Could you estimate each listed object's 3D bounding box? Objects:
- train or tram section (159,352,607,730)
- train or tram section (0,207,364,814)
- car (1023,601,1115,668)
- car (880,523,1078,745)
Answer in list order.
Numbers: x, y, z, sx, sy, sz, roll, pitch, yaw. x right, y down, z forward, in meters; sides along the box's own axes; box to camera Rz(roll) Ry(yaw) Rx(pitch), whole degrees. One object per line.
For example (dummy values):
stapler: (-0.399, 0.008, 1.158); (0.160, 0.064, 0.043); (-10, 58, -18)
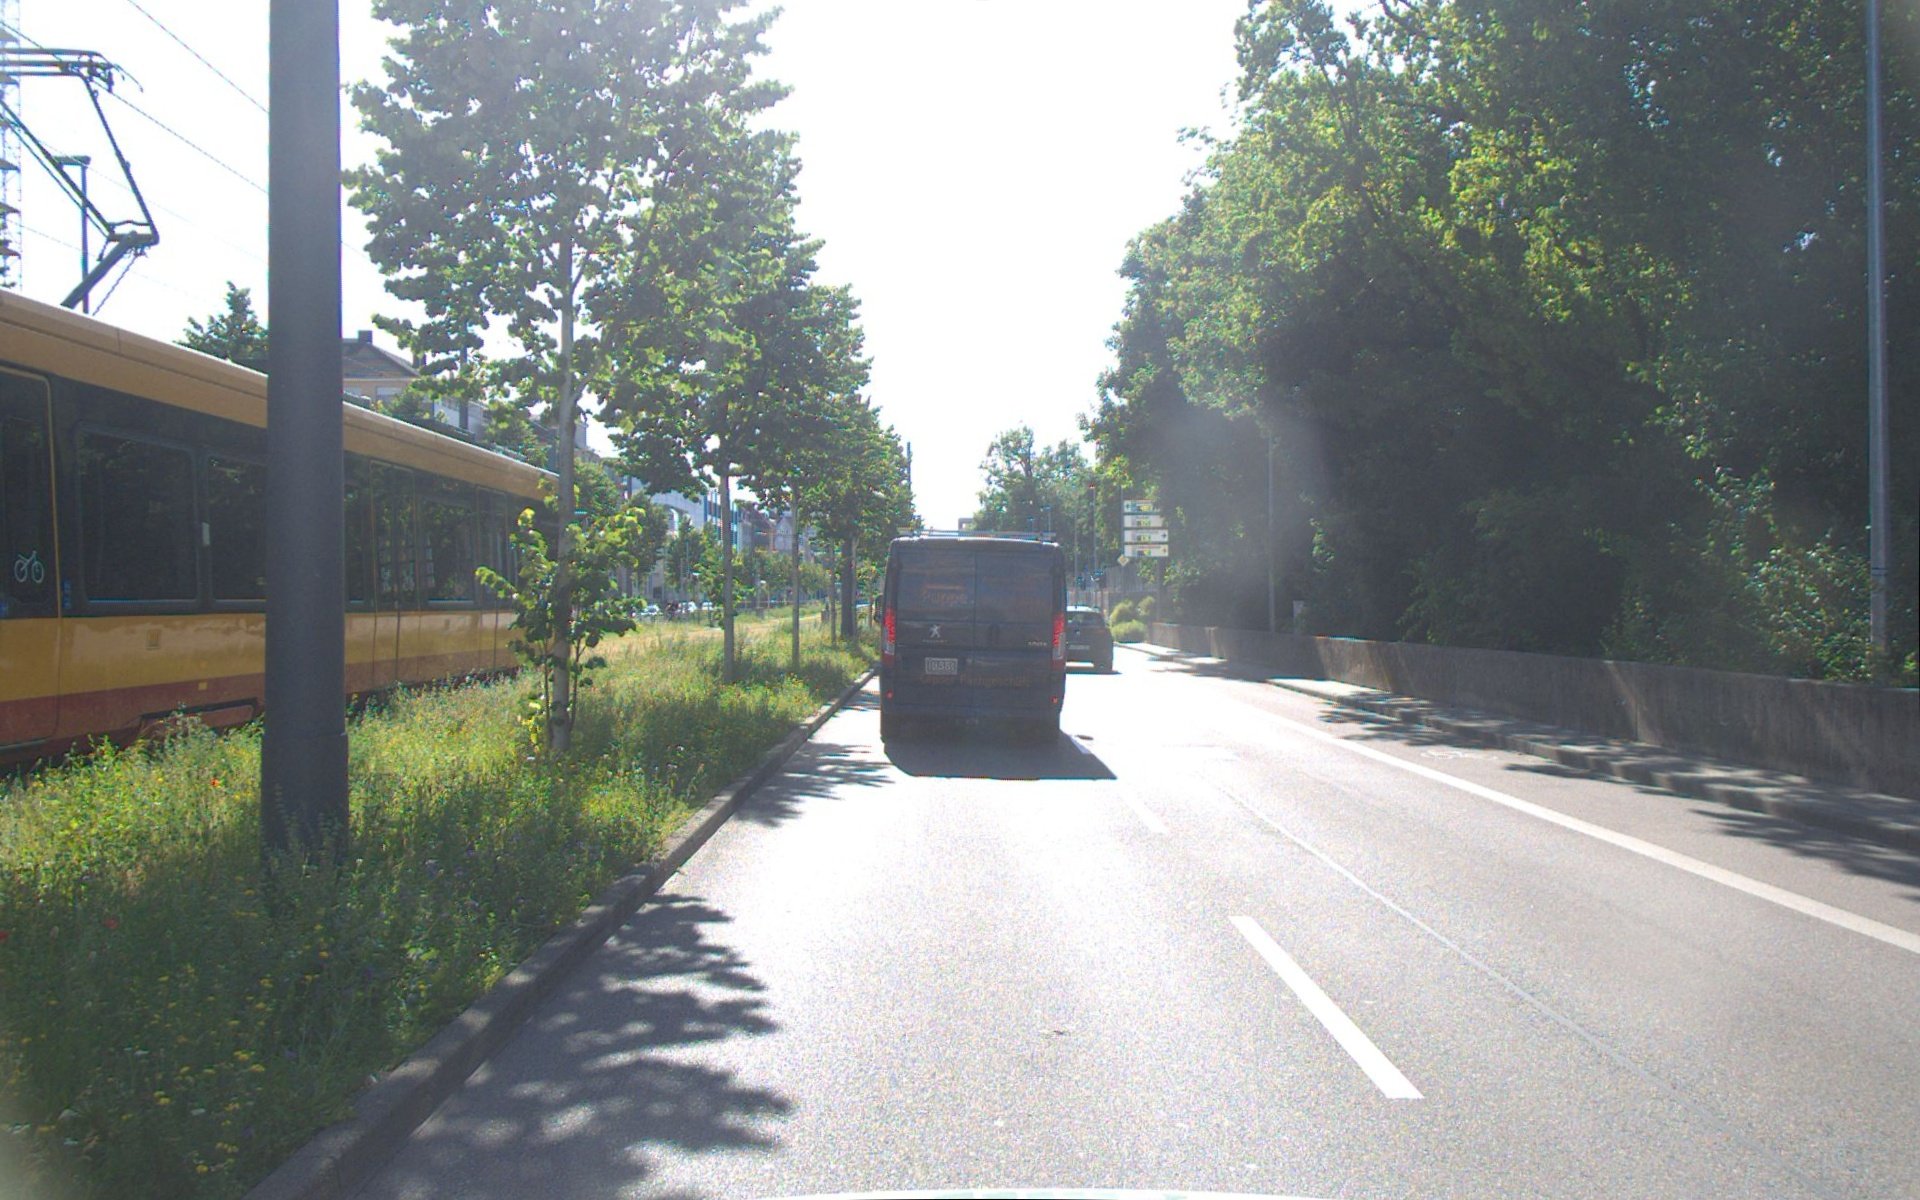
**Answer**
train or tram section: (-6.980, -0.577, 22.295); (1.953, 3.733, 11.682); (1, 0, 0)
train or tram section: (-6.892, -0.554, 10.831); (1.953, 3.733, 11.314); (1, 0, -1)
car: (2.523, 0.770, 39.071); (1.728, 1.488, 3.998); (1, 0, -3)
car: (0.160, 0.356, 19.230); (2.040, 2.288, 3.999); (1, 0, -1)
